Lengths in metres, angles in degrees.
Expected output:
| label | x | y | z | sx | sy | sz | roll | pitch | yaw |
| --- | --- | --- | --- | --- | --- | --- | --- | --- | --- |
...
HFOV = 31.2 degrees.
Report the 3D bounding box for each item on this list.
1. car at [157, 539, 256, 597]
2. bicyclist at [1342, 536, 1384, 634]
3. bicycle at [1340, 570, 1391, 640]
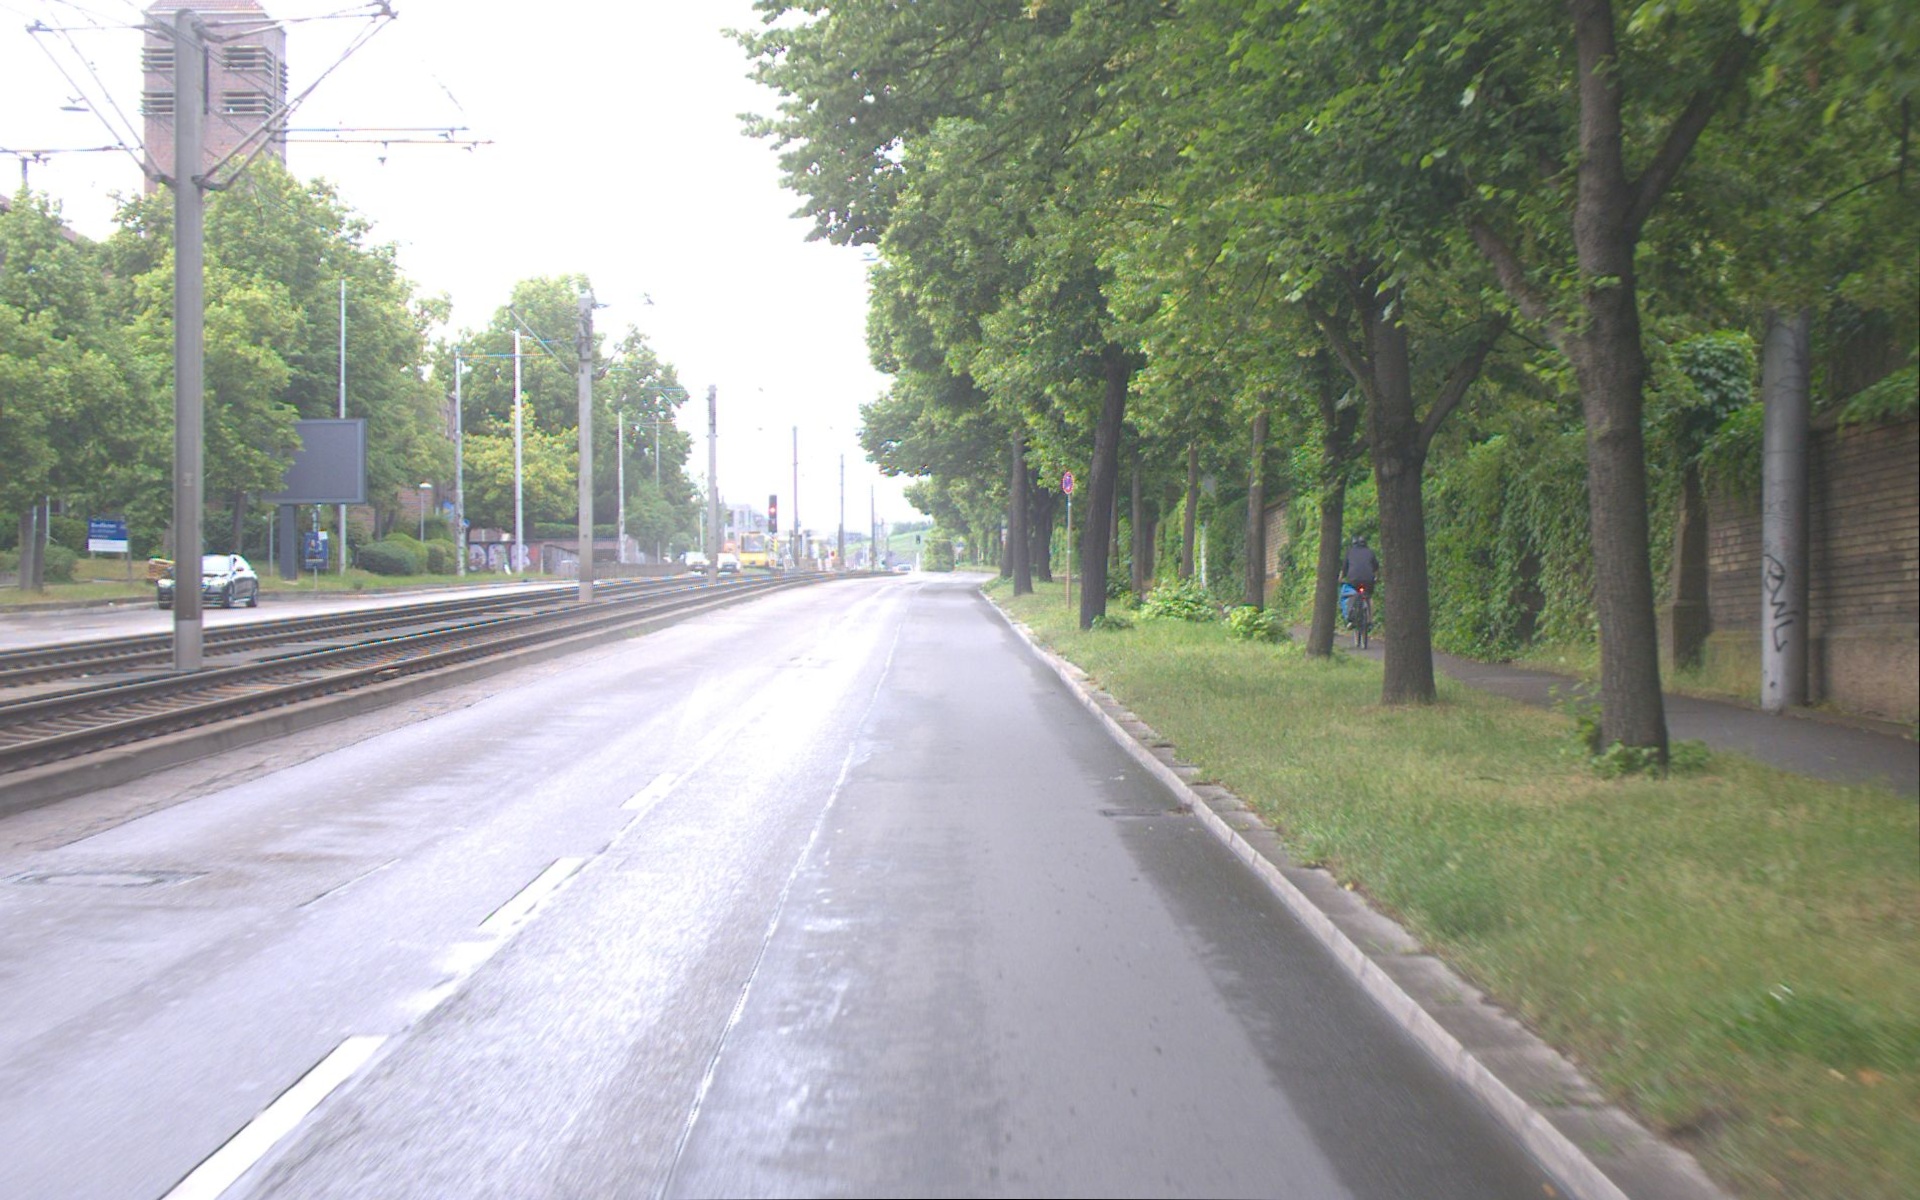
| label | x | y | z | sx | sy | sz | roll | pitch | yaw |
| --- | --- | --- | --- | --- | --- | --- | --- | --- | --- |
| car | -20.304 | -0.879 | 92.806 | 1.794 | 1.525 | 4.622 | 0 | 1 | -2 |
| bicyclist | 5.710 | -0.219 | 48.736 | 0.535 | 1.385 | 0.666 | 0 | 1 | 3 |
| bicycle | 5.704 | 0.052 | 48.465 | 0.543 | 0.945 | 2.549 | 0 | 1 | 3 |
